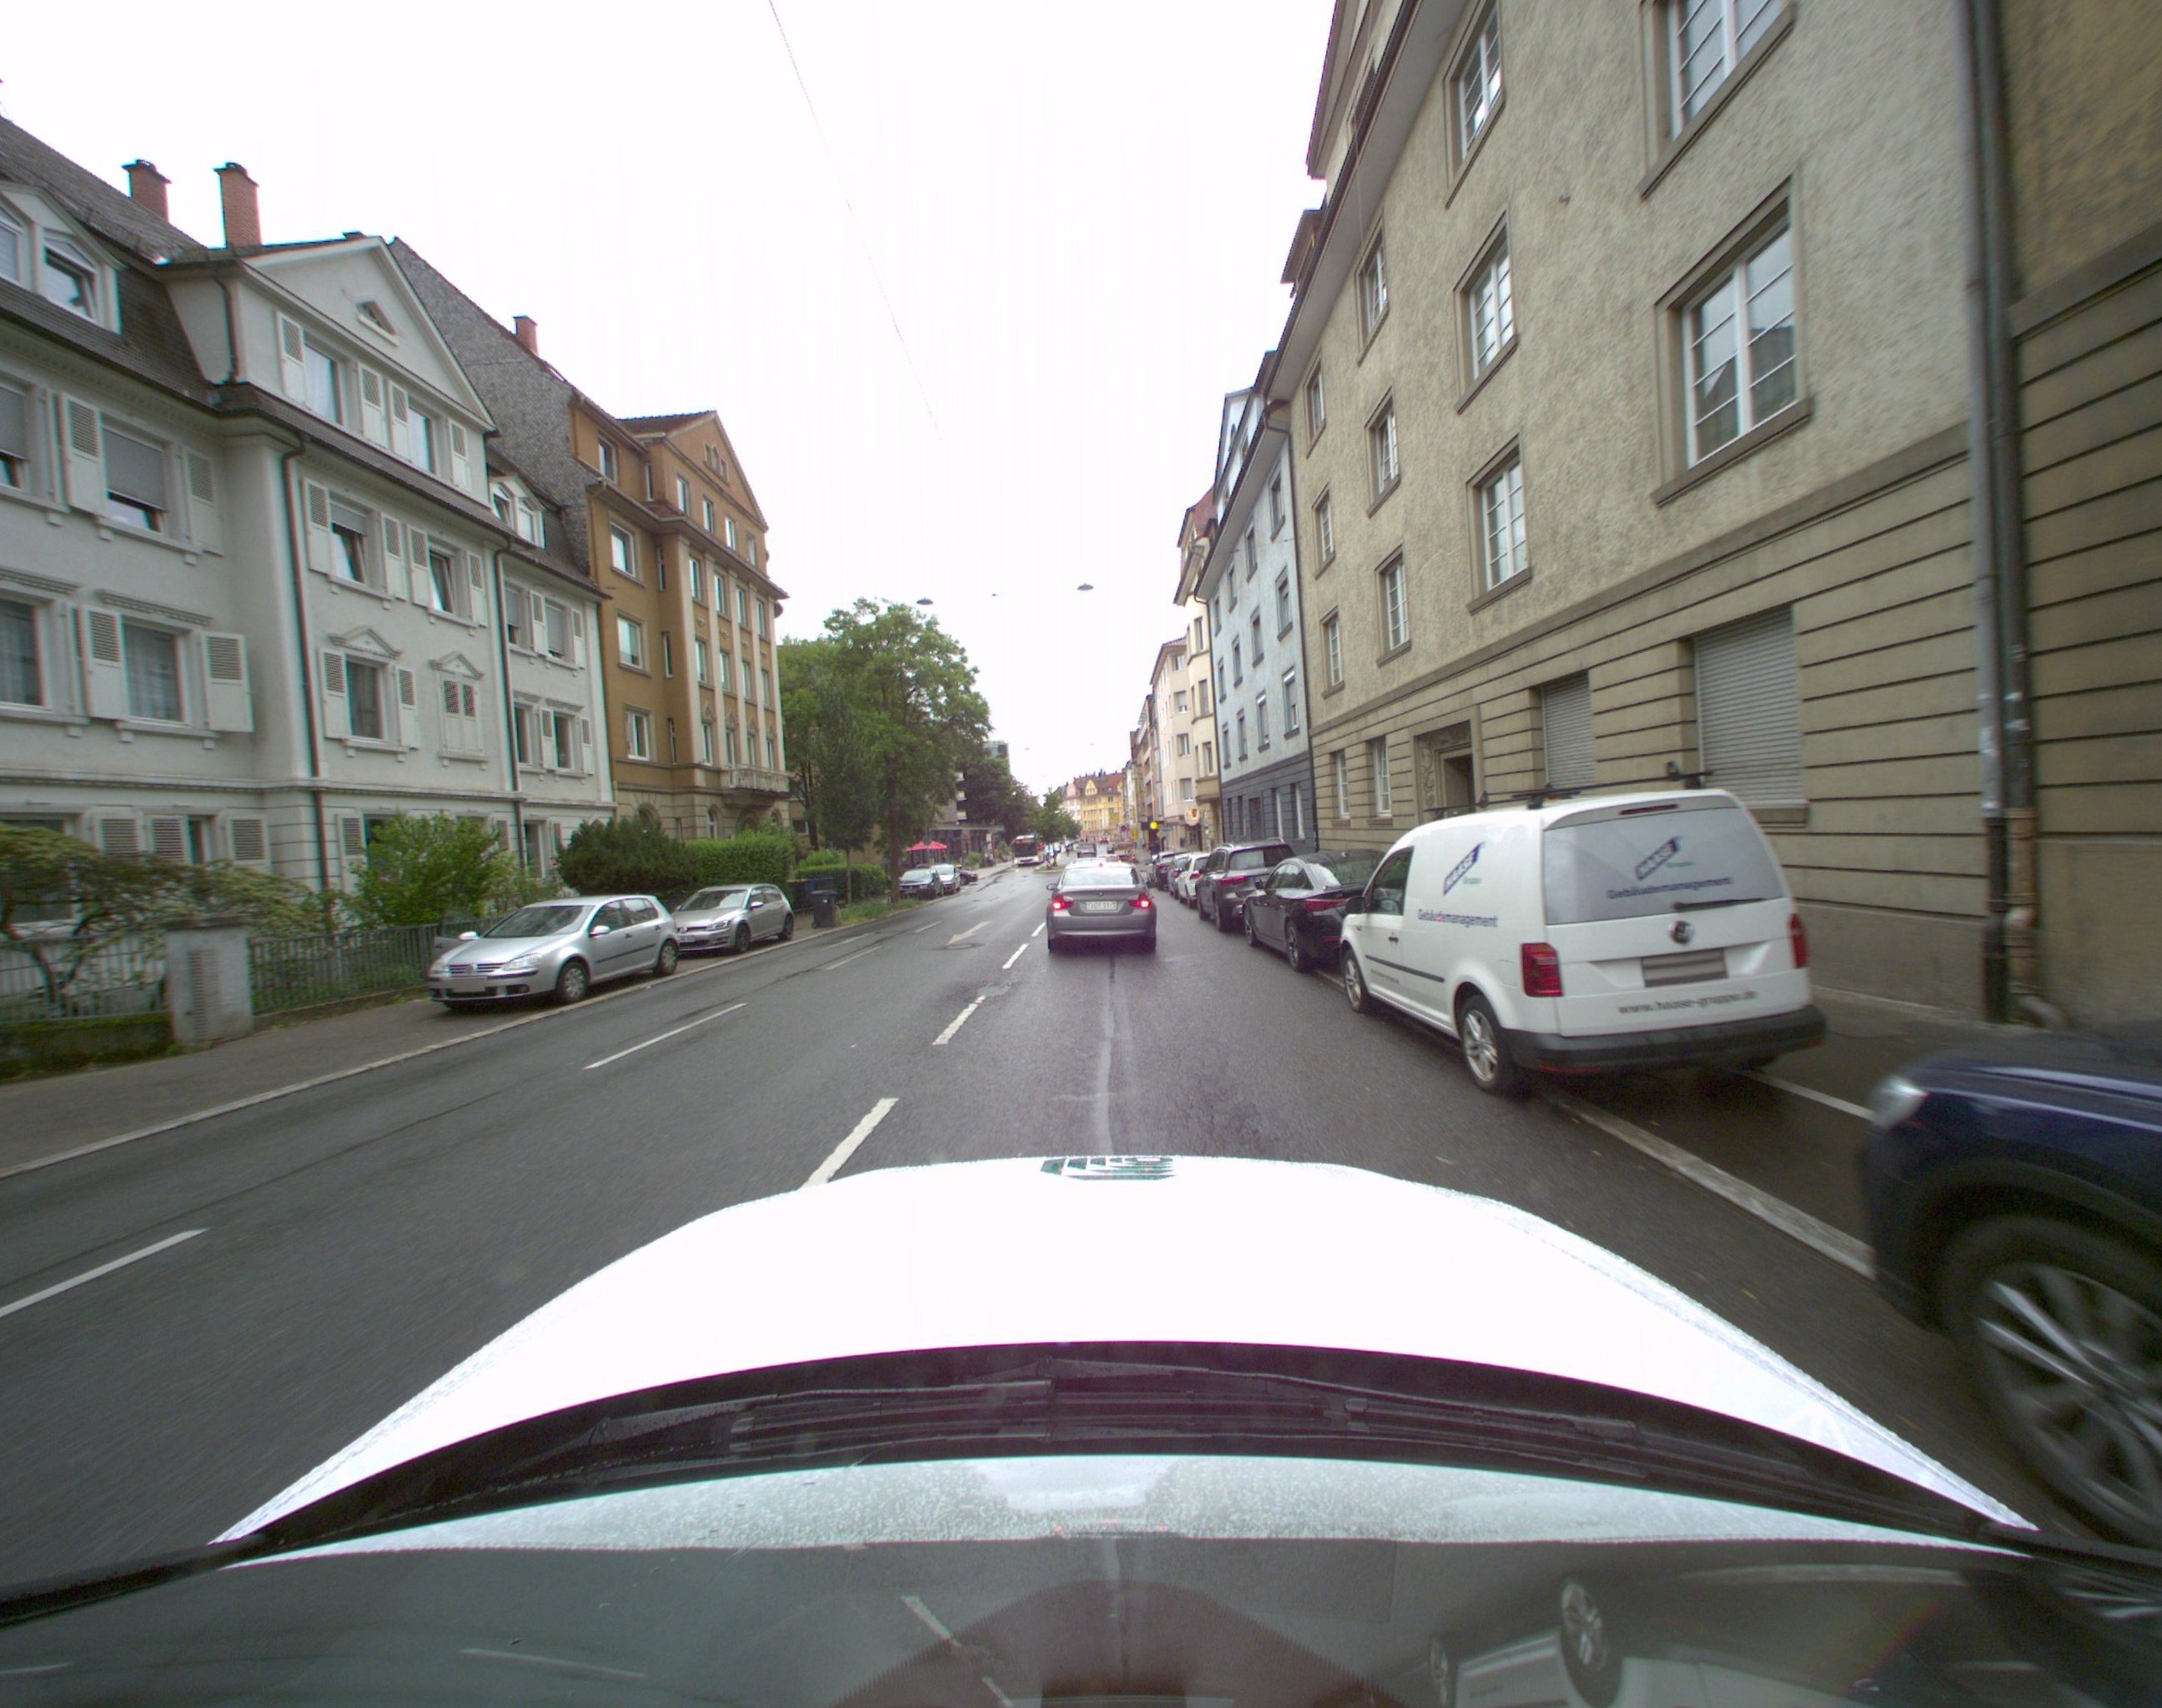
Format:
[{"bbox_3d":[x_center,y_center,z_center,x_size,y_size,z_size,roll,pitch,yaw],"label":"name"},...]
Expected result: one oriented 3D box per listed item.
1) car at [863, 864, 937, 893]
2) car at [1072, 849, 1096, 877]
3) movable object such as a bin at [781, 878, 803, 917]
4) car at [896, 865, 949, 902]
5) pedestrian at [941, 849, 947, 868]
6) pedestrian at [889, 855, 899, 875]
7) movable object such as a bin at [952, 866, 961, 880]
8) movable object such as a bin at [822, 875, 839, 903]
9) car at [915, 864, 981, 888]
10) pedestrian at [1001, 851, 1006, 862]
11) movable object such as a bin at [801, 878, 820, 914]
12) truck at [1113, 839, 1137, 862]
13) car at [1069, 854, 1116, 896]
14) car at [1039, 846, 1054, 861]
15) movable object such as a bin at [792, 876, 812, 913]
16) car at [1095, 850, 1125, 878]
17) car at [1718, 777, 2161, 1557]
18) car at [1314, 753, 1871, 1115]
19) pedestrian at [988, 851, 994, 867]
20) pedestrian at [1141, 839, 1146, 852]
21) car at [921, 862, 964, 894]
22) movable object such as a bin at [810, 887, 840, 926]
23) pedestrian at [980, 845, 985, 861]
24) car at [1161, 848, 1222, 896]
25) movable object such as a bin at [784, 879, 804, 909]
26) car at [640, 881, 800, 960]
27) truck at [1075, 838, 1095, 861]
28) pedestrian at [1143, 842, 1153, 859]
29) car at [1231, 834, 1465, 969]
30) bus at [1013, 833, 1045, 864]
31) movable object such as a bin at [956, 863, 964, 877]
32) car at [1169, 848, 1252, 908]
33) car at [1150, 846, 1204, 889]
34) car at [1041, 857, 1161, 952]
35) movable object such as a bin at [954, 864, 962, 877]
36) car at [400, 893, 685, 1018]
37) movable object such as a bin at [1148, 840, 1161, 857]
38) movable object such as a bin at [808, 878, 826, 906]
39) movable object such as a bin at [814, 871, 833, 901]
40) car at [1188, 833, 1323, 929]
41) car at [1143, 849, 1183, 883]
[{"bbox_3d":[-10.683,1.418,48.239,3.799,1.389,1.744,-4,1,3],"label":"car"},{"bbox_3d":[0.215,0.682,62.191,1.700,2.014,3.998,-1,-1,-1],"label":"car"},{"bbox_3d":[-10.220,1.538,28.820,0.438,1.299,0.650,-4,0,0],"label":"movable object such as a bin"},{"bbox_3d":[-7.293,1.326,37.839,1.648,1.454,3.941,-3,0,0],"label":"car"},{"bbox_3d":[-13.358,0.444,79.457,0.463,1.790,0.544,-1,-1,1],"label":"pedestrian"},{"bbox_3d":[-16.867,0.998,73.504,0.638,1.816,0.631,-4,1,-31],"label":"pedestrian"},{"bbox_3d":[-10.033,1.525,65.599,0.552,1.081,0.731,-4,-1,2],"label":"movable object such as a bin"},{"bbox_3d":[-10.114,1.424,32.856,0.438,1.081,0.590,-3,0,1],"label":"movable object such as a bin"},{"bbox_3d":[-8.288,1.372,51.067,3.803,1.390,1.742,-2,-1,0],"label":"car"},{"bbox_3d":[-9.664,0.290,101.508,0.617,1.378,0.545,-1,-1,2],"label":"pedestrian"},{"bbox_3d":[-10.218,1.566,30.768,0.438,1.308,0.609,-4,0,0],"label":"movable object such as a bin"},{"bbox_3d":[4.216,-0.275,77.968,2.206,2.117,4.656,0,0,3],"label":"truck"},{"bbox_3d":[0.369,0.747,29.609,1.597,1.420,3.286,-1,-1,-1],"label":"car"},{"bbox_3d":[-4.738,-0.049,112.327,1.987,2.014,3.999,0,-1,0],"label":"car"},{"bbox_3d":[-10.242,1.479,29.898,0.438,1.308,0.650,-4,0,0],"label":"movable object such as a bin"},{"bbox_3d":[1.518,0.520,41.733,1.430,1.356,3.764,-1,-1,3],"label":"car"},{"bbox_3d":[2.969,0.575,0.541,1.784,1.548,4.227,-5,0,2],"label":"car"},{"bbox_3d":[3.356,0.427,6.458,1.784,1.817,4.081,-5,0,1],"label":"car"},{"bbox_3d":[-9.466,0.515,85.682,0.542,1.709,0.465,0,-1,-6],"label":"pedestrian"},{"bbox_3d":[8.175,-1.105,107.080,0.611,1.661,0.756,-1,-1,7],"label":"pedestrian"},{"bbox_3d":[-7.101,1.210,42.155,1.628,1.454,3.836,-3,0,-2],"label":"car"},{"bbox_3d":[-7.436,1.527,23.687,0.627,1.058,0.600,-4,-1,1],"label":"movable object such as a bin"},{"bbox_3d":[-10.765,-0.117,89.211,0.542,1.790,0.507,0,-1,-8],"label":"pedestrian"},{"bbox_3d":[3.801,0.576,28.454,1.577,1.429,3.596,-6,0,1],"label":"car"},{"bbox_3d":[-10.258,1.424,29.109,0.438,1.039,0.650,-4,0,0],"label":"movable object such as a bin"},{"bbox_3d":[-7.924,1.398,18.320,1.676,1.390,3.937,-2,0,2],"label":"car"},{"bbox_3d":[0.479,-0.499,93.552,2.209,2.544,4.779,-1,-1,0],"label":"truck"},{"bbox_3d":[6.826,-0.364,82.636,0.754,1.661,0.748,0,-1,-26],"label":"pedestrian"},{"bbox_3d":[3.538,0.558,11.742,1.835,1.409,4.387,-6,0,0],"label":"car"},{"bbox_3d":[-5.742,-0.513,91.500,2.672,3.201,11.954,-1,-1,0],"label":"bus"},{"bbox_3d":[-10.075,1.324,67.626,0.488,1.081,0.606,-4,-1,2],"label":"movable object such as a bin"},{"bbox_3d":[3.679,0.625,23.701,1.723,1.429,3.974,-6,0,1],"label":"car"},{"bbox_3d":[4.022,0.543,34.666,1.811,1.557,4.295,-5,0,2],"label":"car"},{"bbox_3d":[0.332,0.774,13.715,1.749,1.362,3.165,-2,-1,1],"label":"car"},{"bbox_3d":[-10.063,1.356,66.704,0.488,1.081,0.606,-4,-1,2],"label":"movable object such as a bin"},{"bbox_3d":[-8.021,1.424,12.652,1.676,1.390,3.911,-2,0,2],"label":"car"},{"bbox_3d":[7.700,-0.582,85.000,1.119,1.702,1.433,-4,-1,-1],"label":"movable object such as a bin"},{"bbox_3d":[-10.196,1.461,31.505,0.425,1.040,0.650,-4,0,0],"label":"movable object such as a bin"},{"bbox_3d":[-10.180,1.251,32.202,0.438,1.130,0.657,-4,0,0],"label":"movable object such as a bin"},{"bbox_3d":[3.475,0.505,17.052,1.835,1.621,4.208,-5,-1,0],"label":"car"},{"bbox_3d":[4.005,0.572,40.275,1.563,1.464,4.090,-5,0,2],"label":"car"}]
